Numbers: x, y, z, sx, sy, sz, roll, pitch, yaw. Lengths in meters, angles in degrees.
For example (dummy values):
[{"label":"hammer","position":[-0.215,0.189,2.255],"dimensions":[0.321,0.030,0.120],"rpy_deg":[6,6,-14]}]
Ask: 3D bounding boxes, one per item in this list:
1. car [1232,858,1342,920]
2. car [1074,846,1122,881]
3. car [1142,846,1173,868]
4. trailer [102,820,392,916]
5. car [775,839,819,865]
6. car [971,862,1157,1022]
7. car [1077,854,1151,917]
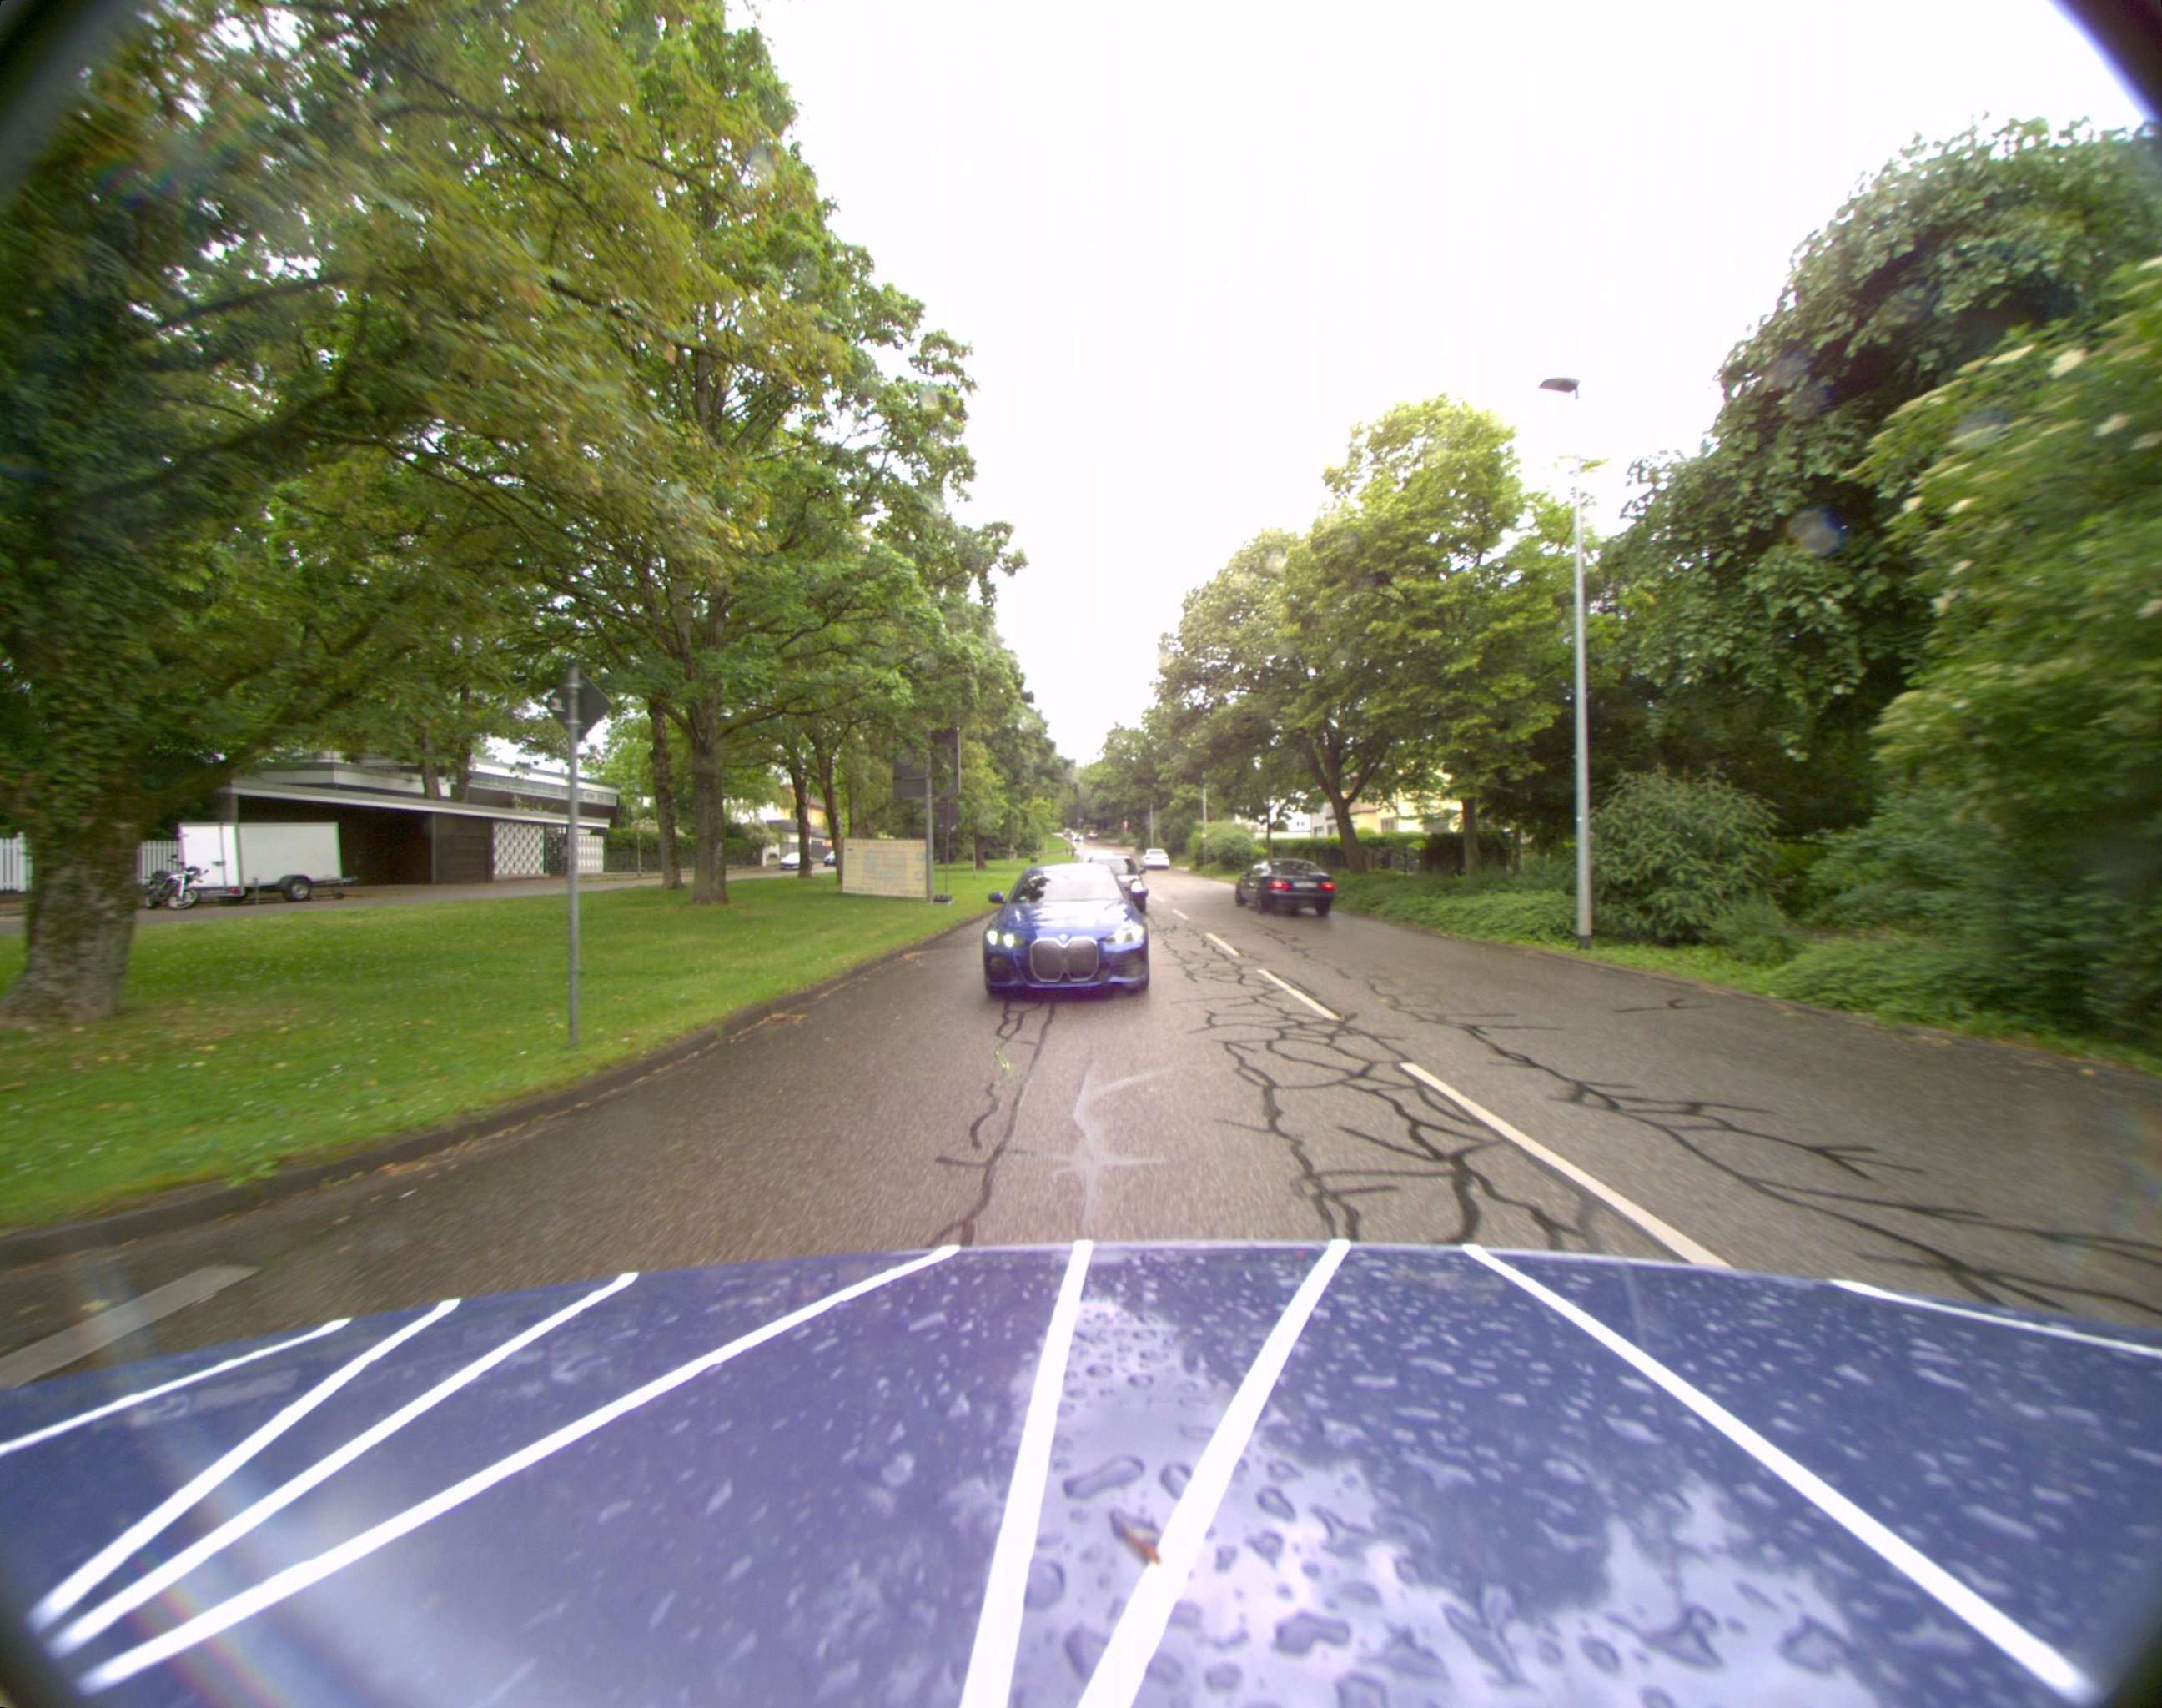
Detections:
[{"label":"car","position":[5.195,0.814,19.758],"dimensions":[1.769,1.341,4.377],"rpy_deg":[1,1,2]},{"label":"car","position":[0.758,0.386,34.665],"dimensions":[2.031,1.471,4.067],"rpy_deg":[-2,1,1]},{"label":"car","position":[5.407,0.178,54.174],"dimensions":[1.826,1.471,4.066],"rpy_deg":[0,1,0]},{"label":"trailer","position":[-21.109,0.286,19.697],"dimensions":[1.771,2.104,5.191],"rpy_deg":[-2,1,-1]},{"label":"car","position":[-22.962,-0.189,61.623],"dimensions":[1.998,2.002,4.000],"rpy_deg":[0,1,1]},{"label":"car","position":[-0.149,0.915,9.742],"dimensions":[1.826,1.471,4.067],"rpy_deg":[-2,1,1]},{"label":"car","position":[0.853,0.788,21.181],"dimensions":[1.826,1.471,4.067],"rpy_deg":[-2,1,1]}]
